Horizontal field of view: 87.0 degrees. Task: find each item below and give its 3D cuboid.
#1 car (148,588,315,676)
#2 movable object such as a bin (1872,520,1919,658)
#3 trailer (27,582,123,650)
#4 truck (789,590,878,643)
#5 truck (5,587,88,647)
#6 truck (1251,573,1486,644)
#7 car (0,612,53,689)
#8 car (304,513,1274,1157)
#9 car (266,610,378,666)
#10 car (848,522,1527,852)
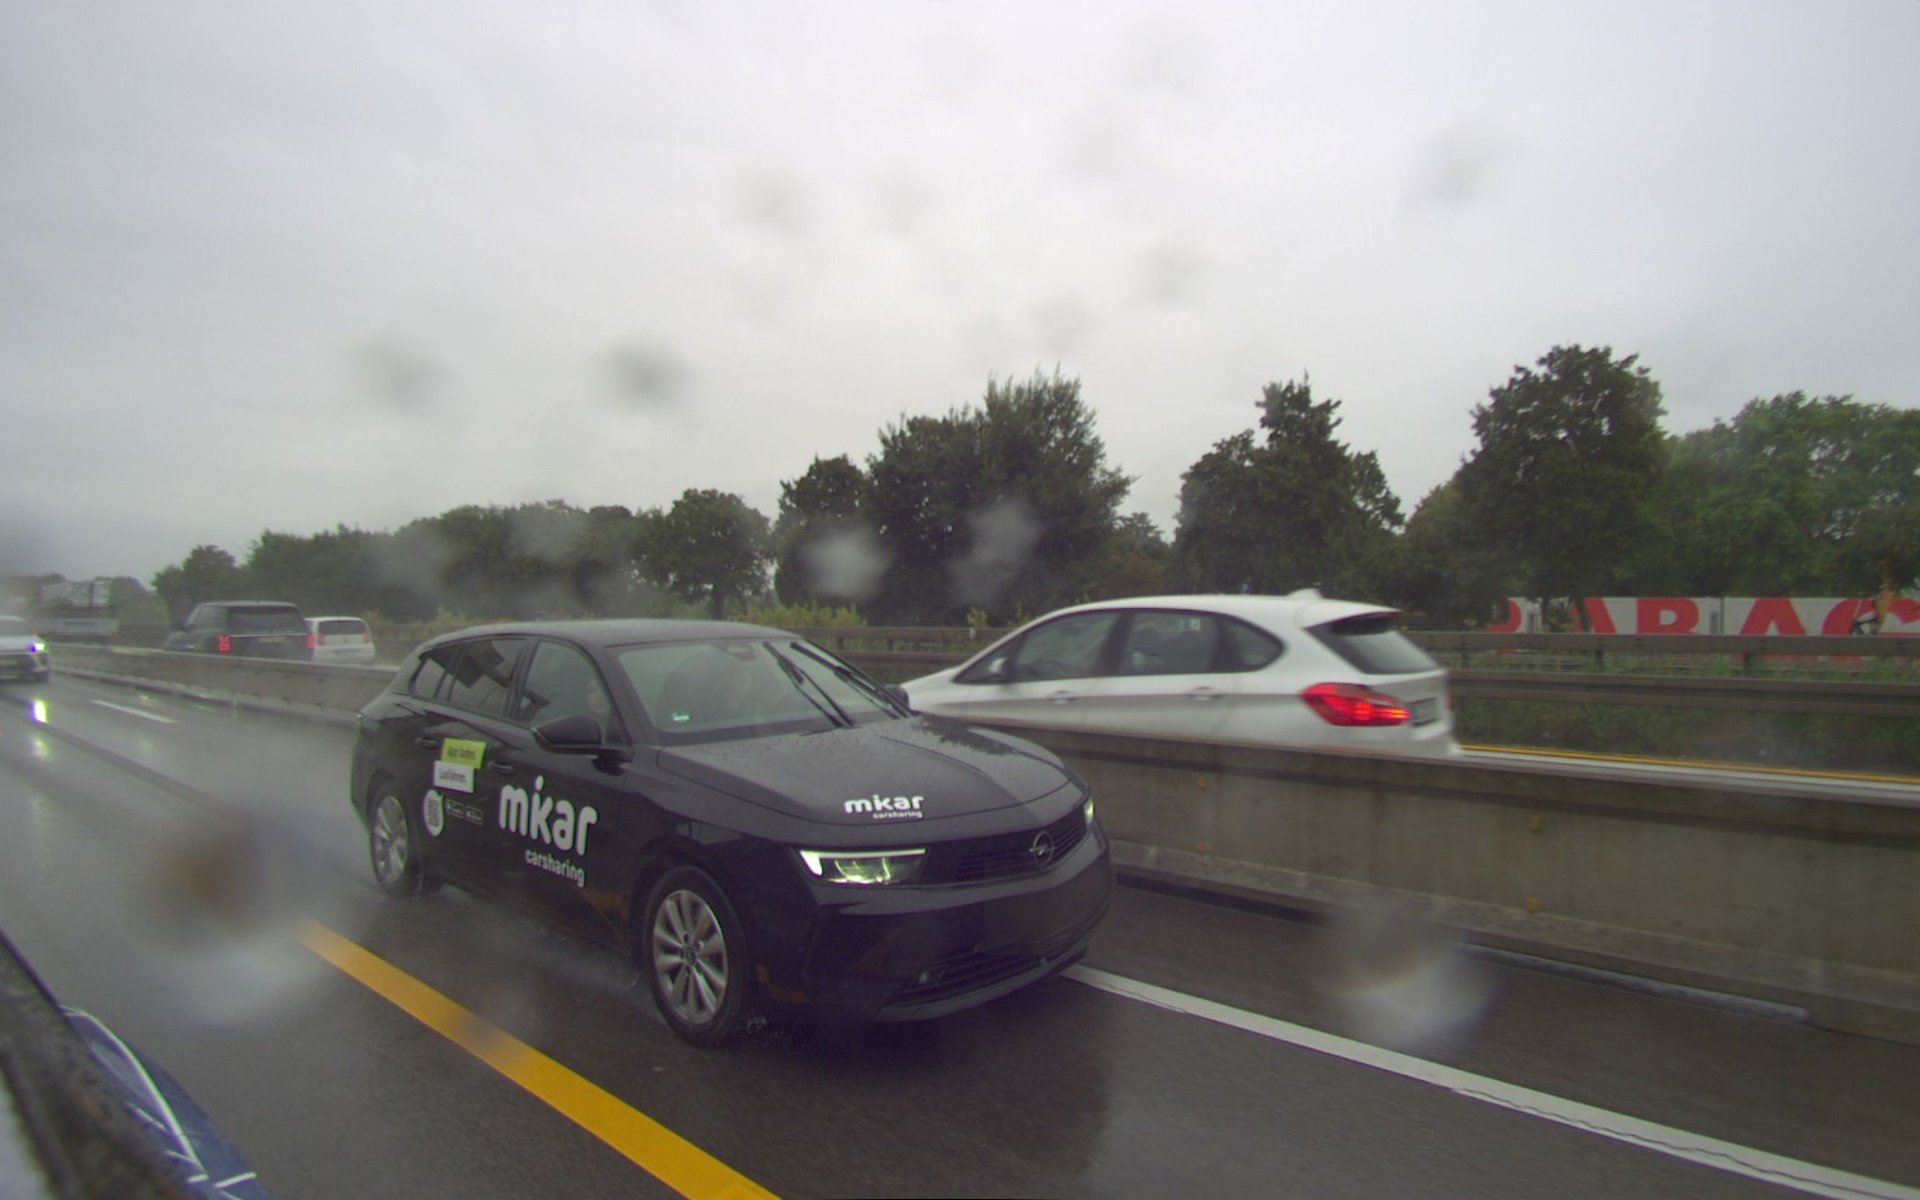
[{"bbox_3d":[-15.818,0.663,21.884,4.737,1.700,1.879,-1,-1,40],"label":"car"},{"bbox_3d":[30.864,-0.300,27.834,8.459,3.949,2.701,1,1,41],"label":"movable object such as a bin"},{"bbox_3d":[-47.972,0.888,54.740,9.709,3.388,2.634,-1,-1,41],"label":"trailer"},{"bbox_3d":[-8.201,0.974,65.124,5.869,3.237,2.584,1,1,44],"label":"truck"},{"bbox_3d":[-55.220,1.020,61.097,9.547,3.373,2.612,-1,-1,41],"label":"truck"},{"bbox_3d":[17.025,0.372,42.779,8.900,2.724,2.488,-1,-1,42],"label":"truck"},{"bbox_3d":[-23.705,1.181,24.478,3.994,1.693,1.948,0,1,38],"label":"car"},{"bbox_3d":[-1.228,0.593,4.747,4.794,1.539,1.918,-1,-1,42],"label":"car"},{"bbox_3d":[-17.880,1.029,28.302,3.890,1.446,1.553,-1,-1,40],"label":"car"},{"bbox_3d":[1.305,0.403,6.994,4.319,1.610,1.683,1,1,41],"label":"car"}]
